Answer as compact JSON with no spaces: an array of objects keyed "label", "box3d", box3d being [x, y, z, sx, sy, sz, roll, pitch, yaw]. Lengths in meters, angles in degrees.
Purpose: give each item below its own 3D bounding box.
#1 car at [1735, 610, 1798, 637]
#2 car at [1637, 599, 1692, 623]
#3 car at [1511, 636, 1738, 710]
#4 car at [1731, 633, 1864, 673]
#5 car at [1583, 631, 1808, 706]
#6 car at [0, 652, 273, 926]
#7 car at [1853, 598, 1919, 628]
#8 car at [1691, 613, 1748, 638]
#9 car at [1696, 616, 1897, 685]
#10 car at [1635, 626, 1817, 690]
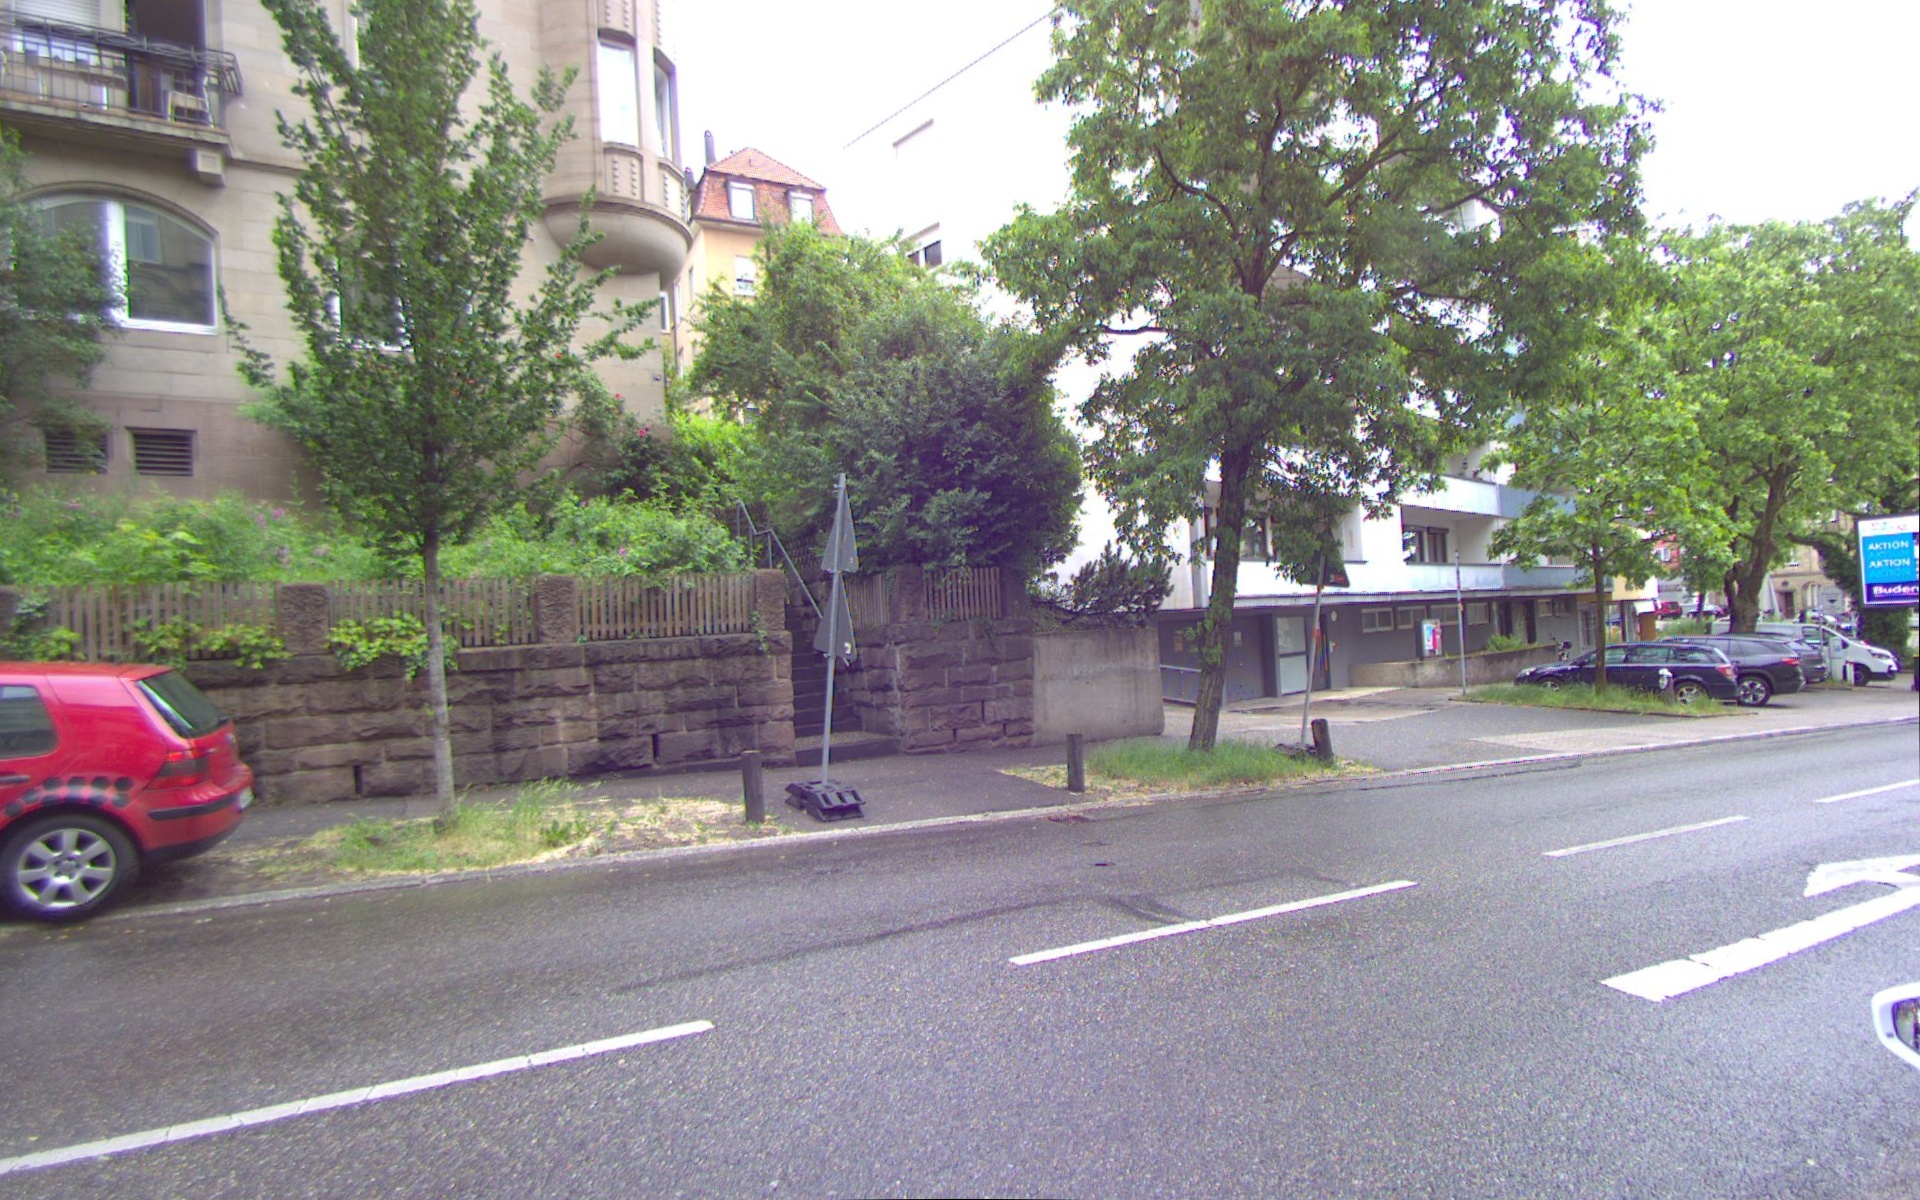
[{"label":"car","box3d":[69.677,1.992,86.868,1.961,2.130,4.291,-1,1,-1]},{"label":"car","box3d":[65.351,1.040,93.251,1.963,2.040,3.996,0,-3,-8]},{"label":"car","box3d":[15.657,1.698,23.793,4.303,1.594,1.935,-3,-4,38]},{"label":"car","box3d":[32.704,2.055,39.343,3.925,1.469,1.761,-2,-3,40]},{"label":"car","box3d":[18.120,1.682,24.929,4.312,1.694,1.848,-3,-4,38]},{"label":"car","box3d":[-6.497,1.073,5.800,4.015,1.470,1.606,1,-2,-30]},{"label":"car","box3d":[69.369,0.918,74.747,1.961,2.130,4.291,-1,1,-1]},{"label":"car","box3d":[69.382,2.297,91.847,1.961,2.130,4.291,-1,1,-1]},{"label":"car","box3d":[27.723,1.668,33.494,5.000,2.132,1.983,-2,-3,40]},{"label":"car","box3d":[23.326,1.737,30.700,4.305,1.807,1.931,-2,-3,40]}]
